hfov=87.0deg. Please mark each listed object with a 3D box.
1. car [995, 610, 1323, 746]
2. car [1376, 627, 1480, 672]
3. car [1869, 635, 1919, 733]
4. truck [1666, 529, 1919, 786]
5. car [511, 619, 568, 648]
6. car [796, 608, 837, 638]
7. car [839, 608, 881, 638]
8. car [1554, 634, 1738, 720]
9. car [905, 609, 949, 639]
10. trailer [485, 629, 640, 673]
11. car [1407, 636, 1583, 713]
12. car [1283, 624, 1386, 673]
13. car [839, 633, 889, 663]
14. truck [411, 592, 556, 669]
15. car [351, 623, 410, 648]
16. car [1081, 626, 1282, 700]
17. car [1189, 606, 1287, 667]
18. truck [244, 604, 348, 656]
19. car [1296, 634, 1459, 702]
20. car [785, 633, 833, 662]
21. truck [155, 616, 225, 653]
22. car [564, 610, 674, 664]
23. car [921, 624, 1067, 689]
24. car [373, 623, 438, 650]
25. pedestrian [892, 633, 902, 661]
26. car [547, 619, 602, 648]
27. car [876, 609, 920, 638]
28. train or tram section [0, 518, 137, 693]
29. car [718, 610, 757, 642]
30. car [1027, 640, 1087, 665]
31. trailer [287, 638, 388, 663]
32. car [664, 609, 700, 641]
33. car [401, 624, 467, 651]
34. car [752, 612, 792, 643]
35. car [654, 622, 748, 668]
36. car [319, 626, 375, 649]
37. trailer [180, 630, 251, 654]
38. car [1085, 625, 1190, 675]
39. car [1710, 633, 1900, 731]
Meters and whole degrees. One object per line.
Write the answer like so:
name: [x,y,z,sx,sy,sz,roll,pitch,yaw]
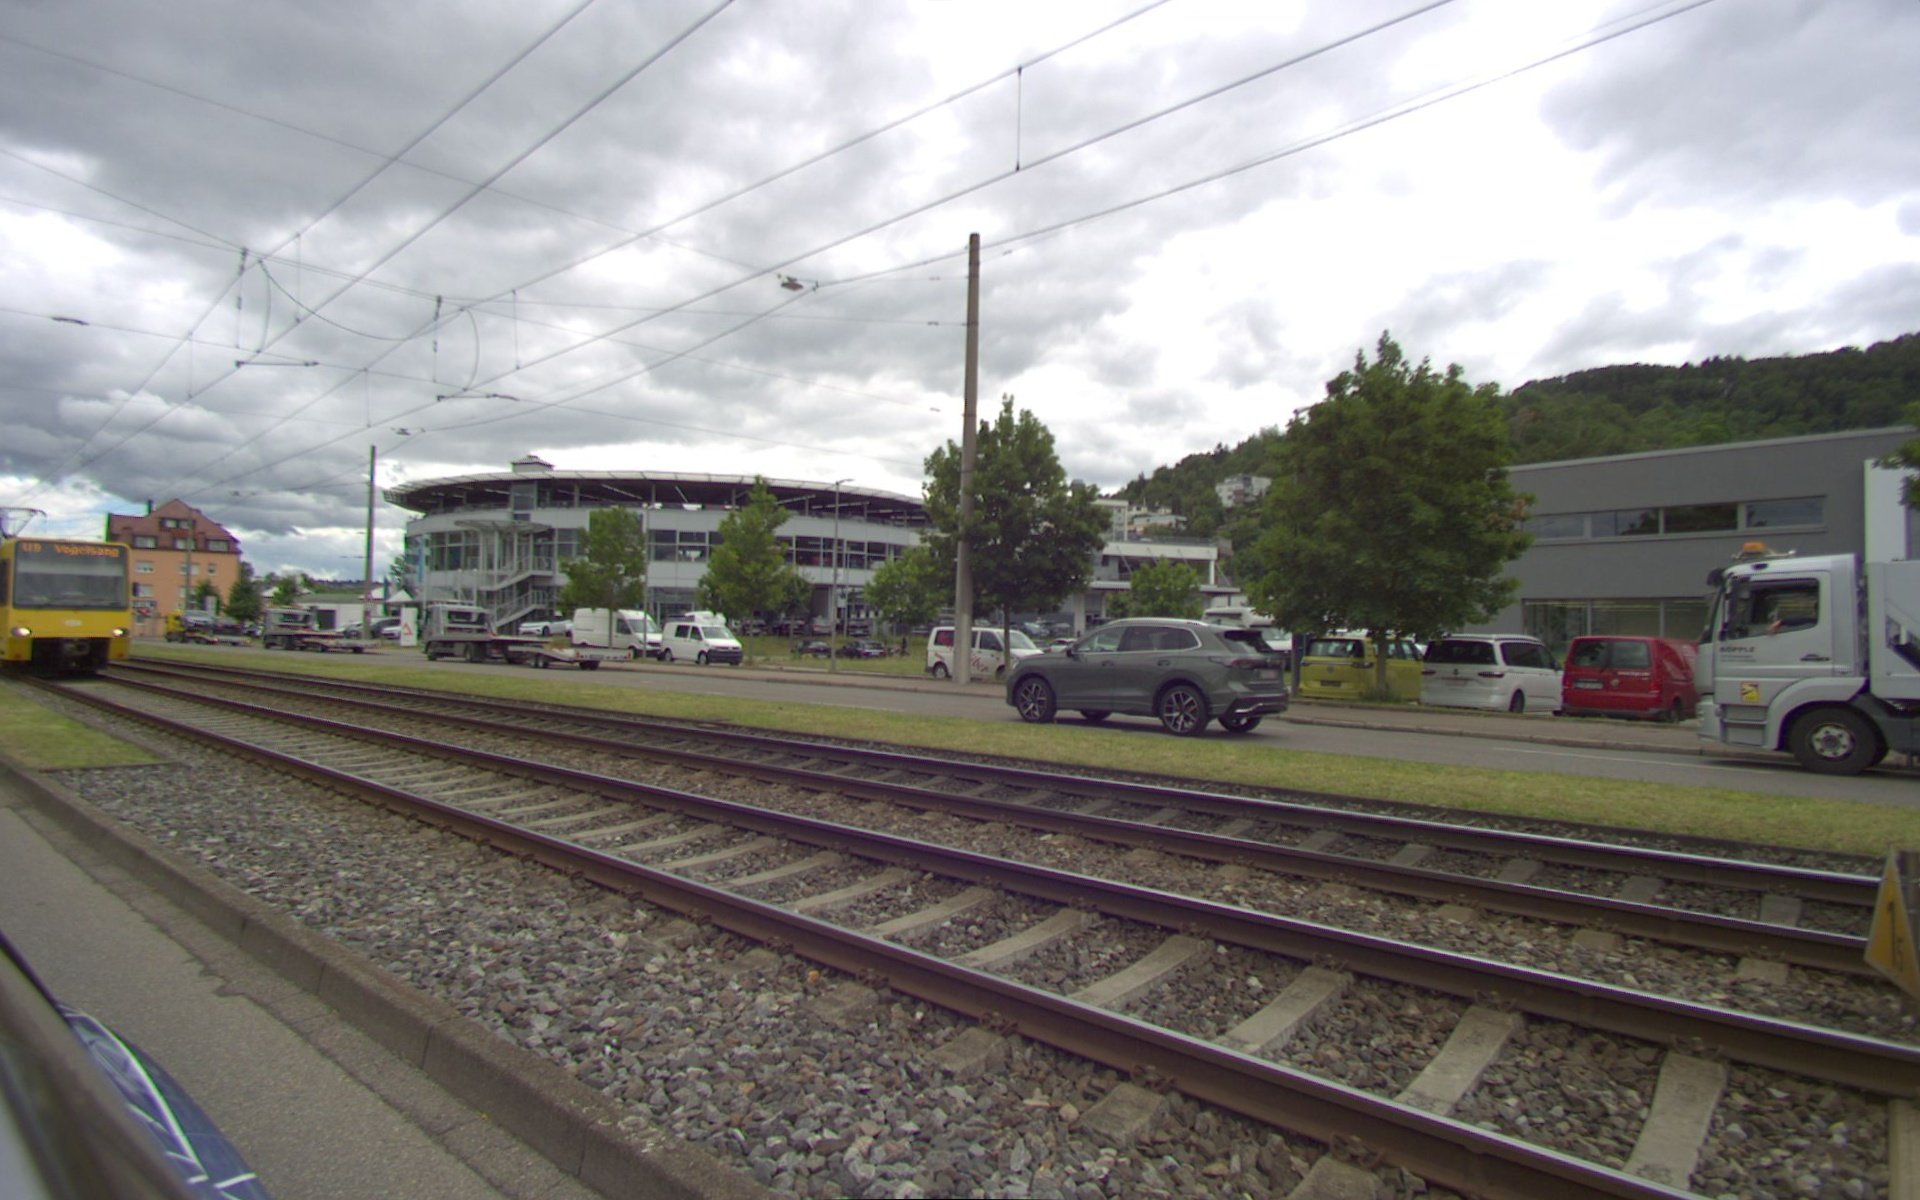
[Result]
car: [2.903,1.082,15.407,4.535,1.752,1.971,-1,-4,44]
car: [23.362,2.422,50.752,1.966,2.144,4.875,1,-2,-18]
car: [17.751,1.437,17.793,3.936,1.630,2.004,2,-2,-39]
truck: [12.881,0.634,10.082,2.723,2.763,9.228,4,-4,-43]
car: [-30.099,2.386,72.601,1.978,2.029,3.988,0,-2,10]
car: [-10.108,1.654,71.078,1.965,2.029,4.013,1,-2,-20]
car: [-6.952,1.613,69.977,1.965,2.029,4.013,1,-2,-20]
car: [14.490,1.537,21.327,4.124,1.630,2.067,2,-2,-39]
car: [-2.386,1.730,71.779,1.965,2.029,4.013,1,-2,-20]
trailer: [-15.324,1.931,38.704,7.227,1.507,2.727,-2,-5,44]
car: [12.665,1.680,23.869,4.289,1.630,2.124,2,-2,-39]
car: [17.536,2.236,47.667,1.966,2.144,4.875,1,-2,-18]
car: [-5.565,2.748,58.444,1.648,1.630,3.727,1,-2,-26]
truck: [-20.938,1.388,44.228,8.457,3.004,2.831,-2,-5,44]
car: [-46.848,2.878,81.829,3.934,1.962,2.005,2,-3,-36]
car: [6.583,1.837,30.045,5.615,2.023,2.151,1,-2,-22]
car: [13.026,1.698,47.784,1.965,2.726,4.876,1,-2,-21]
truck: [-41.354,1.901,62.913,8.959,2.944,3.074,-2,-5,42]
car: [10.979,1.711,26.510,4.281,1.630,2.158,2,-2,-39]
car: [-8.754,2.723,58.391,1.648,1.630,3.727,1,-2,-27]
truck: [-62.467,2.807,82.027,9.066,2.881,3.016,-2,-3,43]
car: [-17.140,1.858,50.791,5.843,2.580,1.978,-1,-2,32]
car: [1.064,1.826,34.009,4.863,2.029,1.971,-1,-3,45]
car: [-42.579,2.813,77.796,1.991,1.962,3.960,-1,-2,29]
pedestrian: [-3.529,2.611,56.375,0.492,1.536,0.614,1,-2,-10]
car: [-27.844,2.393,73.158,1.978,2.029,3.988,0,-2,10]
car: [-4.408,1.664,71.145,1.965,2.029,4.013,1,-2,-20]
train or tram section: [-27.631,0.217,29.893,16.952,4.037,3.350,-1,-1,45]
car: [-14.745,1.741,66.931,1.965,2.029,4.013,1,-2,-20]
car: [6.024,3.253,63.269,1.650,1.447,3.723,1,-2,-37]
trailer: [-35.444,2.863,57.494,7.005,1.287,3.016,-2,-5,42]
car: [-18.201,1.663,66.157,1.965,2.029,4.013,1,-2,-20]
car: [-39.451,2.828,76.033,1.991,1.962,3.960,-1,-2,29]
car: [-12.682,1.864,68.120,1.965,2.029,4.013,1,-2,-20]
car: [-12.061,2.061,47.040,4.808,2.029,1.971,-2,-3,43]
car: [-52.800,3.248,87.255,3.931,1.962,2.006,1,-2,-27]
trailer: [-56.287,3.136,76.422,7.568,1.701,2.945,-2,-3,43]
car: [7.607,2.125,43.870,1.965,2.029,5.150,1,-2,-23]
car: [16.332,1.483,19.523,3.936,1.677,2.052,2,-2,-39]
